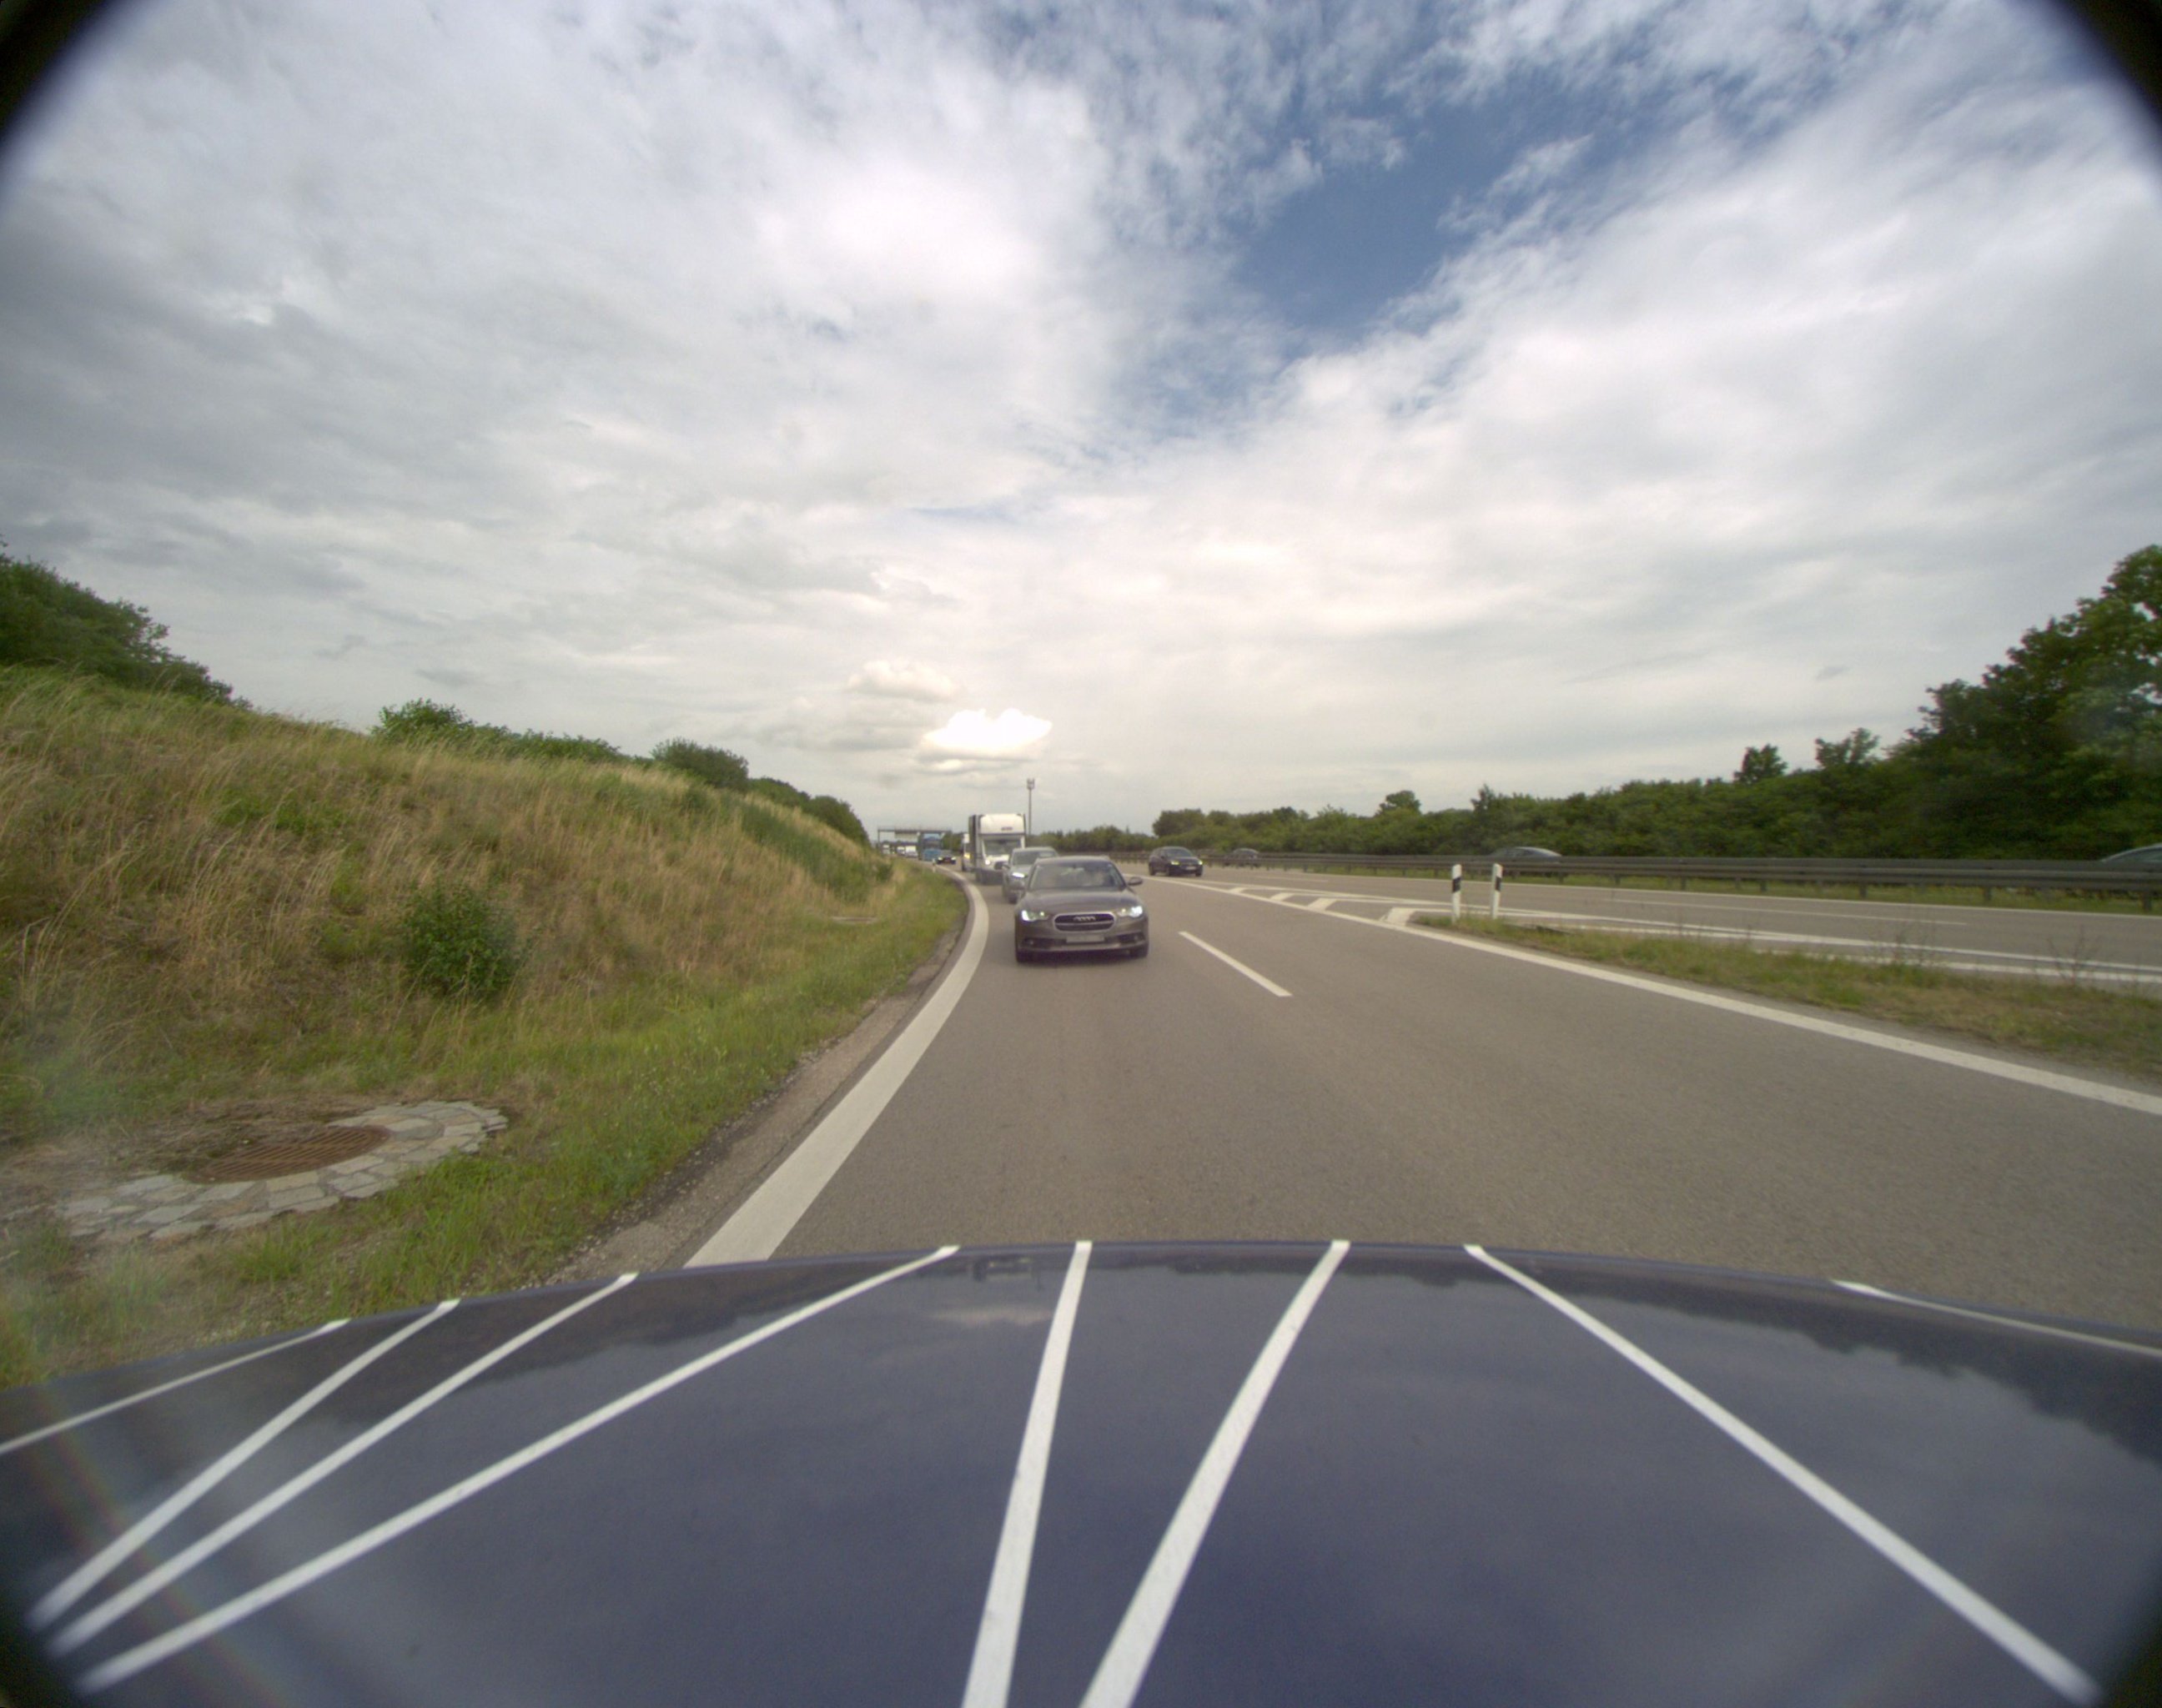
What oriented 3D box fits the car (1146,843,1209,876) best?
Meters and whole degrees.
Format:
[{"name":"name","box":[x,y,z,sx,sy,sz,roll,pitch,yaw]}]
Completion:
[{"name":"car","box":[4.717,0.228,37.689,1.716,1.546,3.994,-1,1,-14]}]

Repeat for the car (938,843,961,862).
[{"name":"car","box":[-13.965,-0.188,80.604,2.001,2.002,3.994,-1,1,-15]}]

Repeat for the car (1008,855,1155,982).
[{"name":"car","box":[-0.103,0.828,11.770,1.849,1.489,4.027,-2,1,-3]}]

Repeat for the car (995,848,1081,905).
[{"name":"car","box":[-1.432,0.627,23.633,2.001,1.567,3.995,-1,1,-13]}]

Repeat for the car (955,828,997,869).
[{"name":"car","box":[-7.640,-0.386,54.631,2.023,2.729,6.918,-1,1,-15]}]

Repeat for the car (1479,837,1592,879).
[{"name":"car","box":[19.806,0.150,33.327,2.001,1.674,3.994,-1,1,-15]}]

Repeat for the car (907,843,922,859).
[{"name":"car","box":[-36.715,-0.699,167.494,2.949,3.447,6.561,-1,1,-15]}]

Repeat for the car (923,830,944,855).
[{"name":"car","box":[-22.281,-1.712,114.314,2.507,3.689,7.690,-1,1,-15]}]

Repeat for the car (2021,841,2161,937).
[{"name":"car","box":[23.880,0.741,16.309,1.932,2.002,4.212,-1,1,-13]}]

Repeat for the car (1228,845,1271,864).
[{"name":"car","box":[15.064,0.034,68.166,2.001,1.652,4.558,-1,1,-14]}]

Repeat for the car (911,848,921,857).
[{"name":"car","box":[-35.029,-0.332,161.036,1.932,2.020,3.994,-1,1,-14]}]

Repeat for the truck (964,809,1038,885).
[{"name":"truck","box":[-3.926,-0.353,35.972,2.451,3.217,7.181,-1,1,-14]}]
